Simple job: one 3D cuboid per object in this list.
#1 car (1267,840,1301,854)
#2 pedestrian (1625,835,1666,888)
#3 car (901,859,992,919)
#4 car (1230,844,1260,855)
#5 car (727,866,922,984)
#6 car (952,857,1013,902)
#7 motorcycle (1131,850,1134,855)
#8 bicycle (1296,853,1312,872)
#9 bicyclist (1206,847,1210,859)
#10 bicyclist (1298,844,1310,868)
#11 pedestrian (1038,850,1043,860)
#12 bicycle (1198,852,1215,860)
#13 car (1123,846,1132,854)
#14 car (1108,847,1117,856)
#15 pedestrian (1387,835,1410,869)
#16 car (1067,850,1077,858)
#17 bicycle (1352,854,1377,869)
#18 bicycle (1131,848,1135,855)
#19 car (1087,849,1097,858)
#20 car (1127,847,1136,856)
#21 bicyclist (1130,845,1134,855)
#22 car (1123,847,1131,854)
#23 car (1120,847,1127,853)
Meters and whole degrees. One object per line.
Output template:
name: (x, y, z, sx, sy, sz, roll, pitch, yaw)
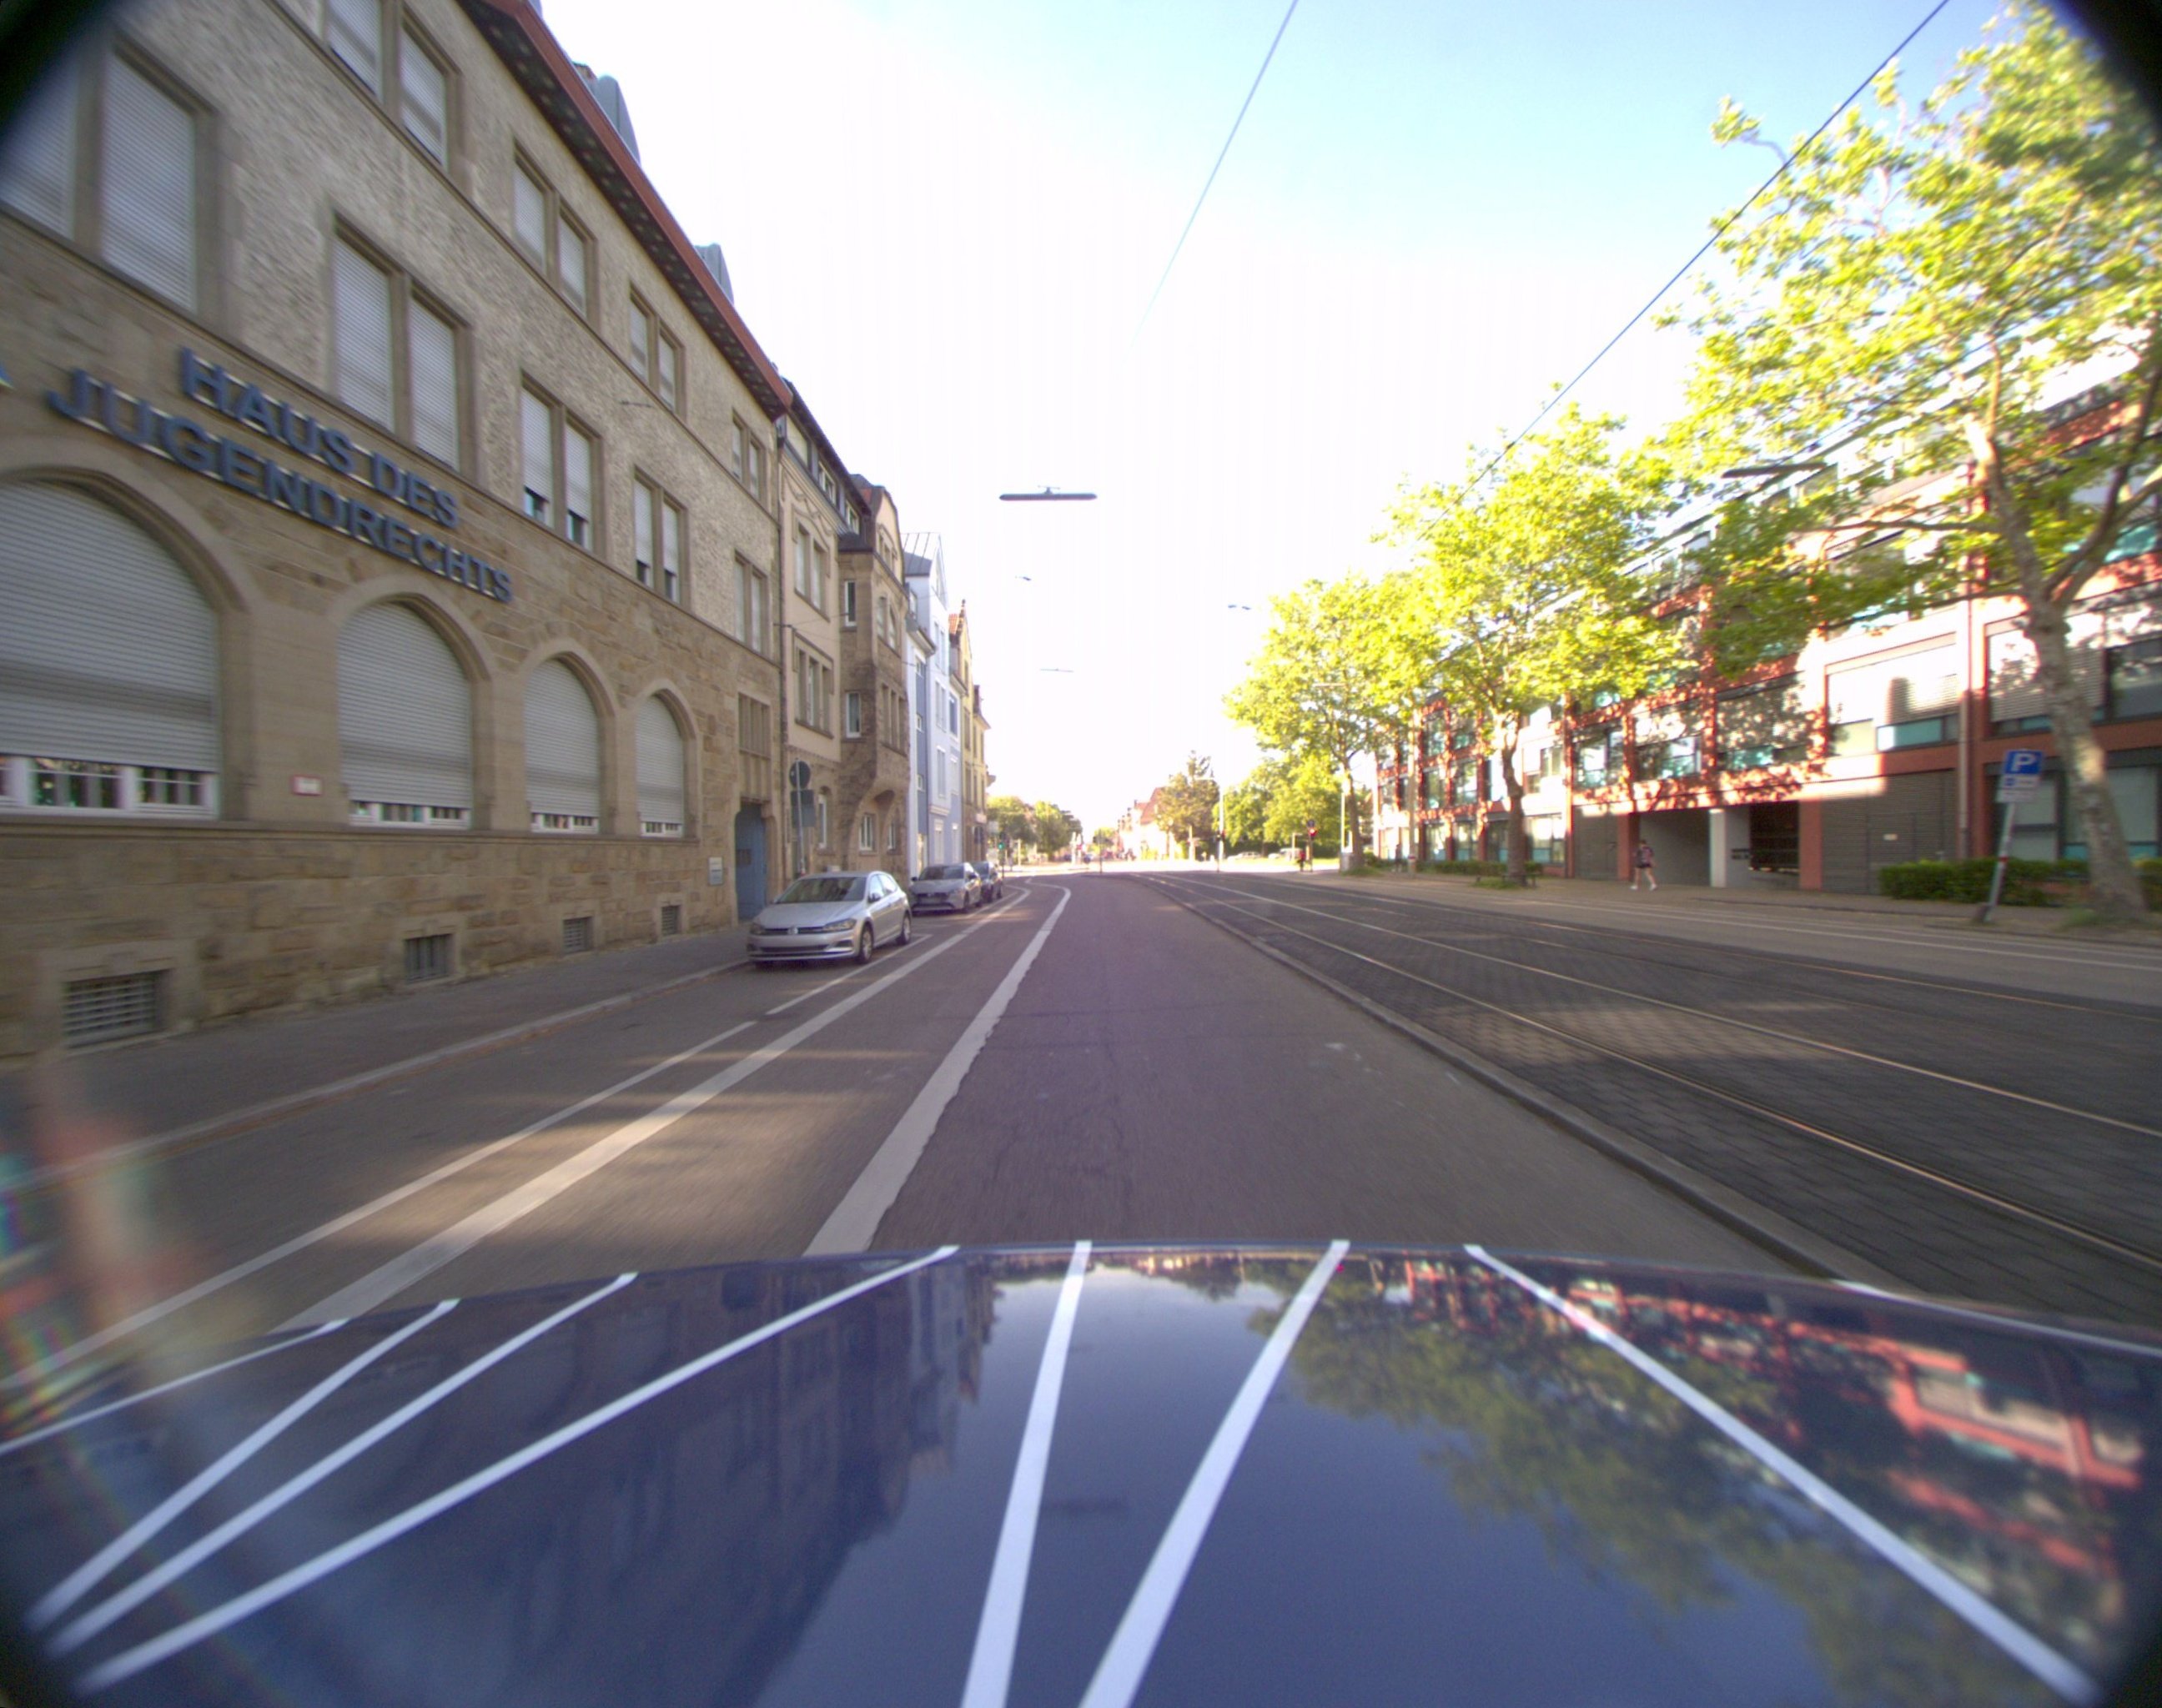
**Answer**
car: (28.692, -0.976, 107.322, 4.311, 1.856, 1.817, -1, 1, 3)
pedestrian: (18.726, 0.244, 25.225, 0.627, 1.709, 0.900, -3, 1, 0)
car: (-3.964, 0.978, 23.069, 1.757, 1.492, 4.196, -3, 0, 2)
car: (22.690, -0.671, 105.214, 3.995, 1.425, 1.817, -1, 0, 7)
car: (-4.077, 1.040, 12.878, 1.718, 1.492, 4.226, -3, 0, 1)
car: (-3.642, 0.895, 28.604, 1.659, 1.474, 4.000, -2, 1, 1)
motorcycle: (10.312, -0.308, 151.697, 0.605, 1.040, 2.437, -3, 0, 3)
bicycle: (15.992, 0.593, 54.383, 0.632, 1.123, 2.038, -6, 1, 26)
bicyclist: (17.689, -0.173, 106.038, 0.559, 1.613, 0.899, -1, 1, 9)
bicyclist: (15.961, 0.147, 54.412, 0.605, 1.682, 0.934, -3, 1, 26)
pedestrian: (-6.398, 0.145, 120.272, 0.655, 1.664, 0.943, 0, 1, 3)
bicycle: (17.460, 0.243, 106.003, 2.284, 1.111, 0.930, -1, 1, 9)
car: (11.146, -0.878, 181.276, 1.924, 1.705, 4.000, -3, 0, 2)
car: (7.694, -0.516, 182.735, 2.024, 2.001, 5.252, 0, -1, 4)
pedestrian: (19.124, -0.129, 45.766, 0.913, 2.002, 0.780, -3, 1, -7)
car: (-1.911, 0.016, 164.161, 1.704, 1.541, 4.002, -3, 0, 6)
bicycle: (17.445, 0.443, 46.811, 0.522, 0.901, 1.541, -2, 1, -23)
bicycle: (9.235, -0.456, 135.370, 0.588, 1.107, 1.826, 0, 0, -2)
car: (2.341, -0.156, 164.355, 1.923, 1.705, 4.001, -3, 0, 4)
car: (11.059, -0.573, 166.815, 1.923, 1.890, 4.001, -3, 0, 4)
bicyclist: (9.127, -0.748, 135.429, 0.588, 1.701, 0.901, 0, 0, -2)
car: (11.347, -0.902, 187.498, 1.924, 1.705, 4.000, -3, 0, 1)
car: (12.058, -1.220, 217.405, 1.923, 1.705, 4.001, -4, 0, 3)
